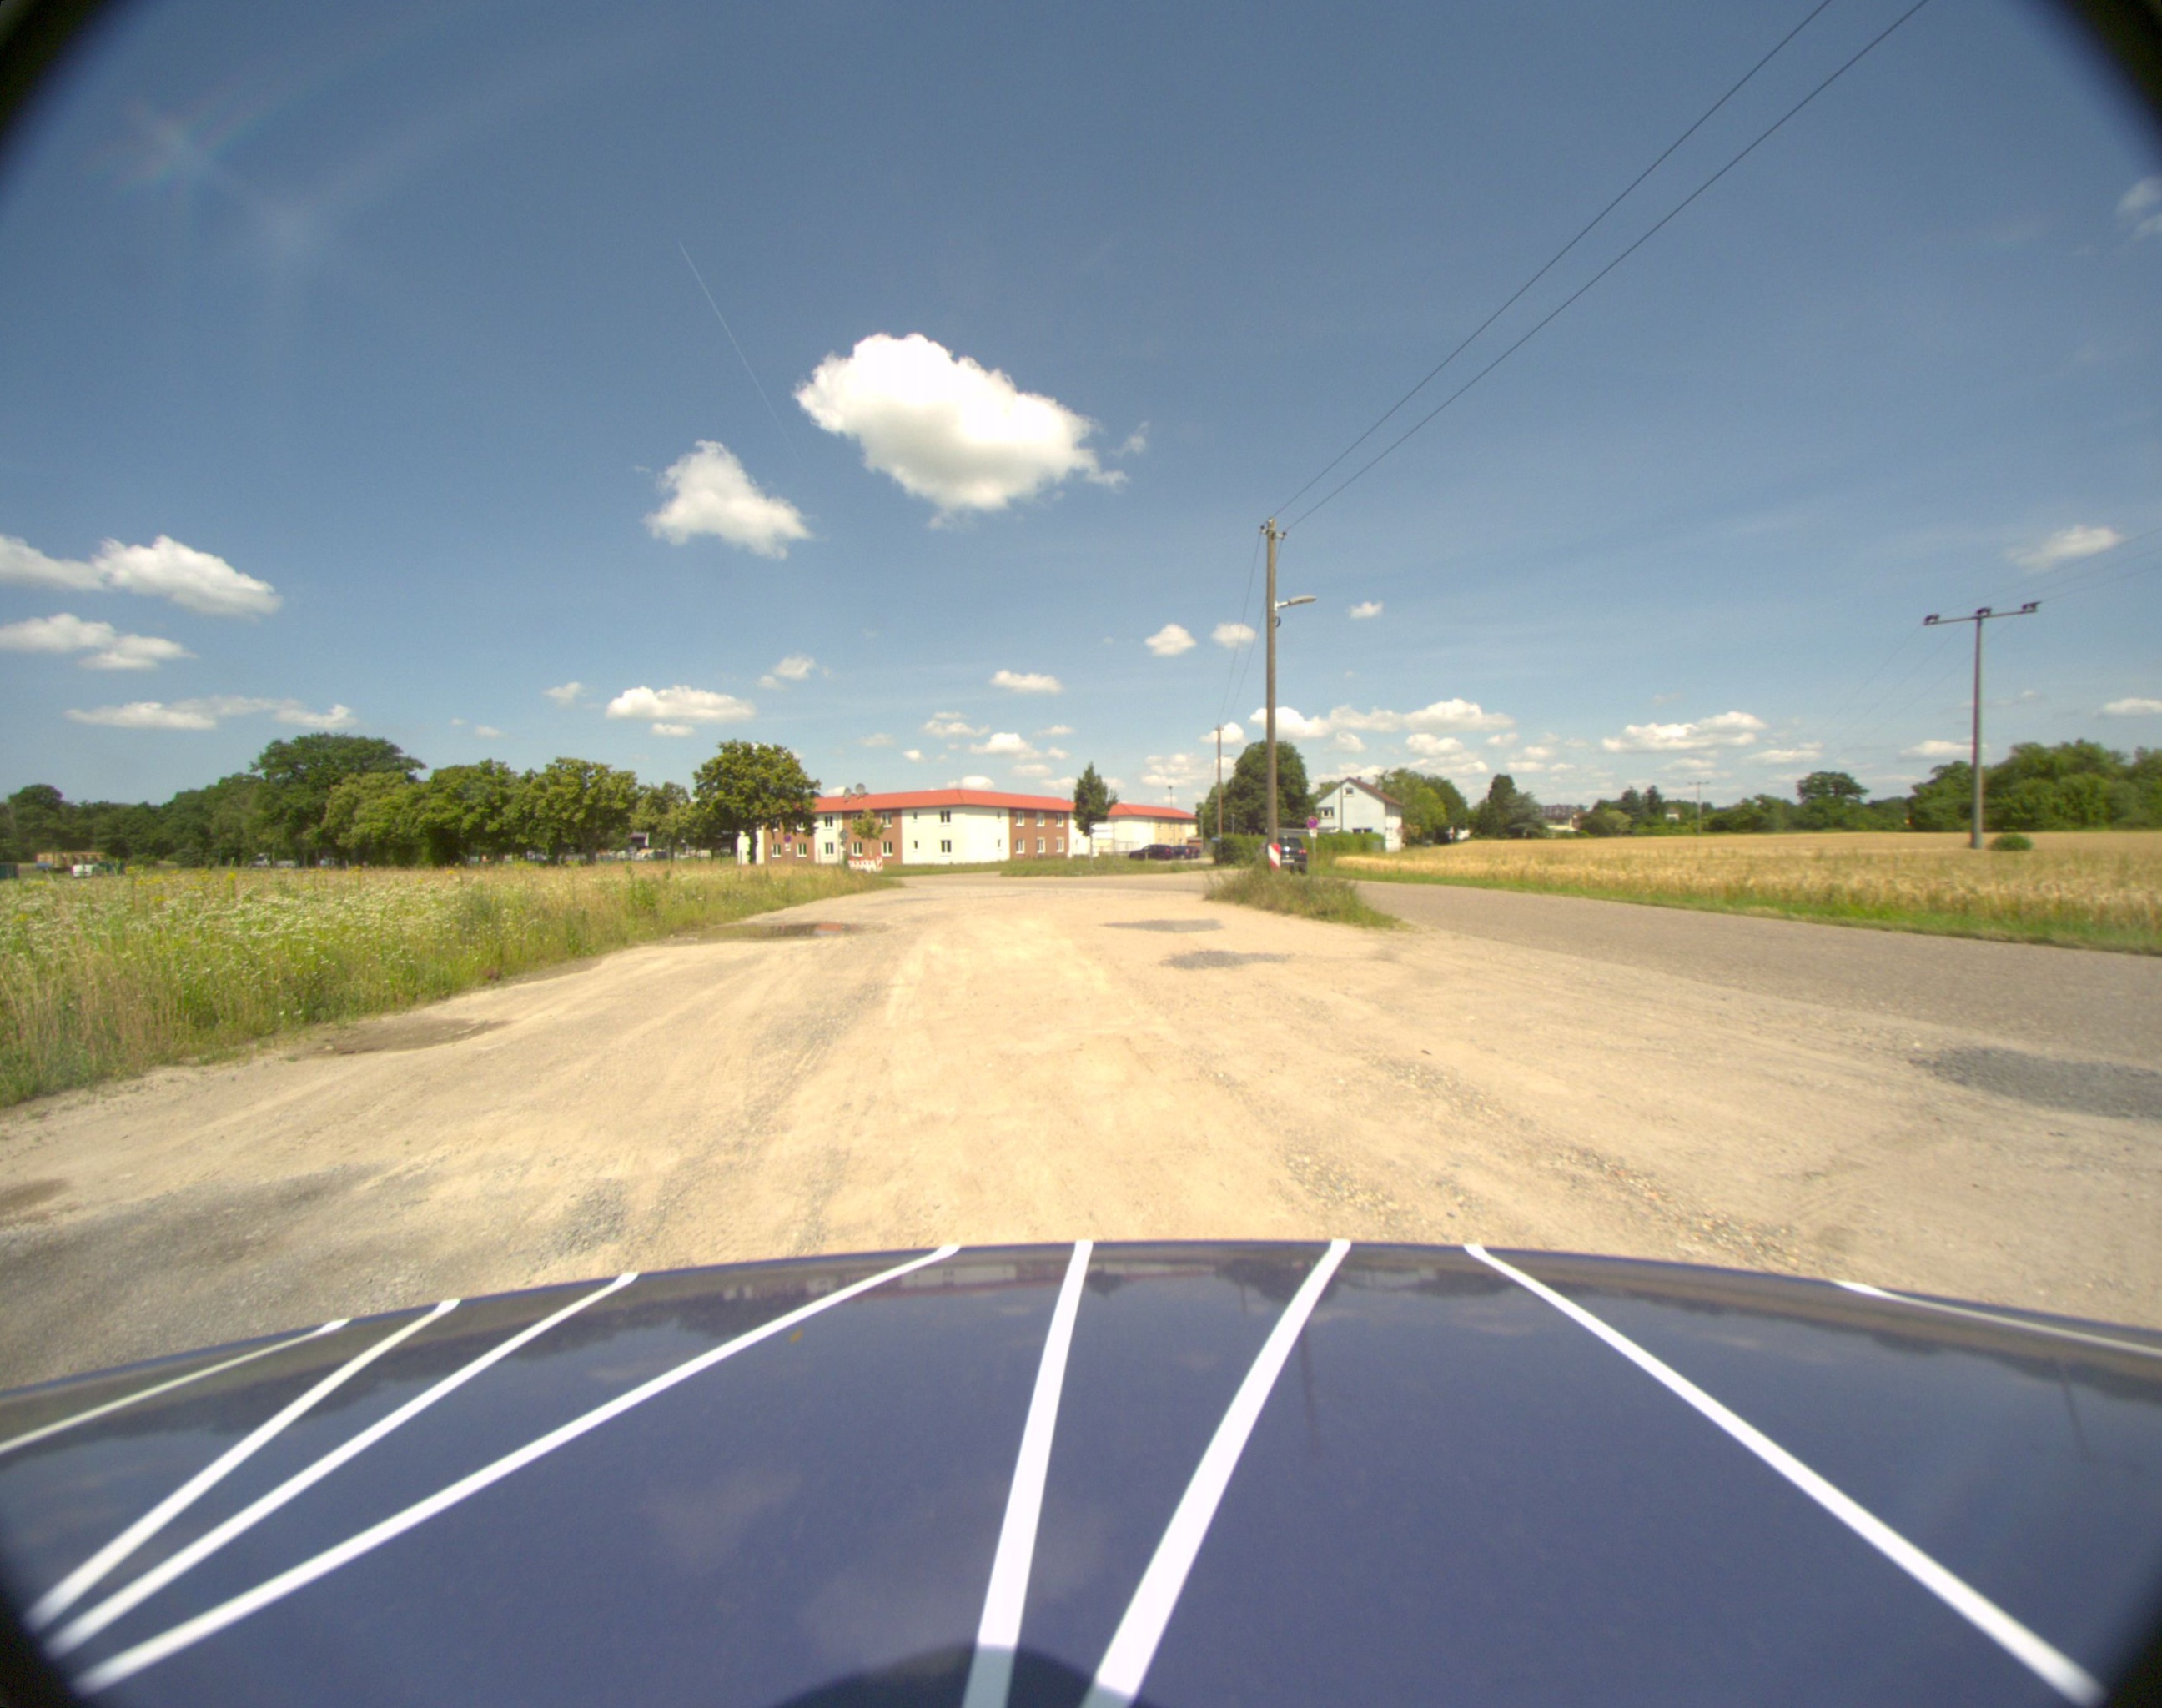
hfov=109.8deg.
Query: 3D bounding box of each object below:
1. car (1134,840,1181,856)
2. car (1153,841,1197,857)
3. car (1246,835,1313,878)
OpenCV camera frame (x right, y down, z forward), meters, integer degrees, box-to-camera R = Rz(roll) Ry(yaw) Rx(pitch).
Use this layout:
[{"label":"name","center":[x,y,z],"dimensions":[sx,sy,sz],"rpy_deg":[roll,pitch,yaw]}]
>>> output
[{"label":"car","center":[7.585,-0.593,75.549],"dimensions":[4.137,1.605,2.003],"rpy_deg":[0,1,28]},{"label":"car","center":[9.757,-0.555,78.856],"dimensions":[4.137,1.605,2.003],"rpy_deg":[0,1,28]},{"label":"car","center":[8.469,0.064,32.701],"dimensions":[1.748,1.669,4.254],"rpy_deg":[-2,2,0]}]
